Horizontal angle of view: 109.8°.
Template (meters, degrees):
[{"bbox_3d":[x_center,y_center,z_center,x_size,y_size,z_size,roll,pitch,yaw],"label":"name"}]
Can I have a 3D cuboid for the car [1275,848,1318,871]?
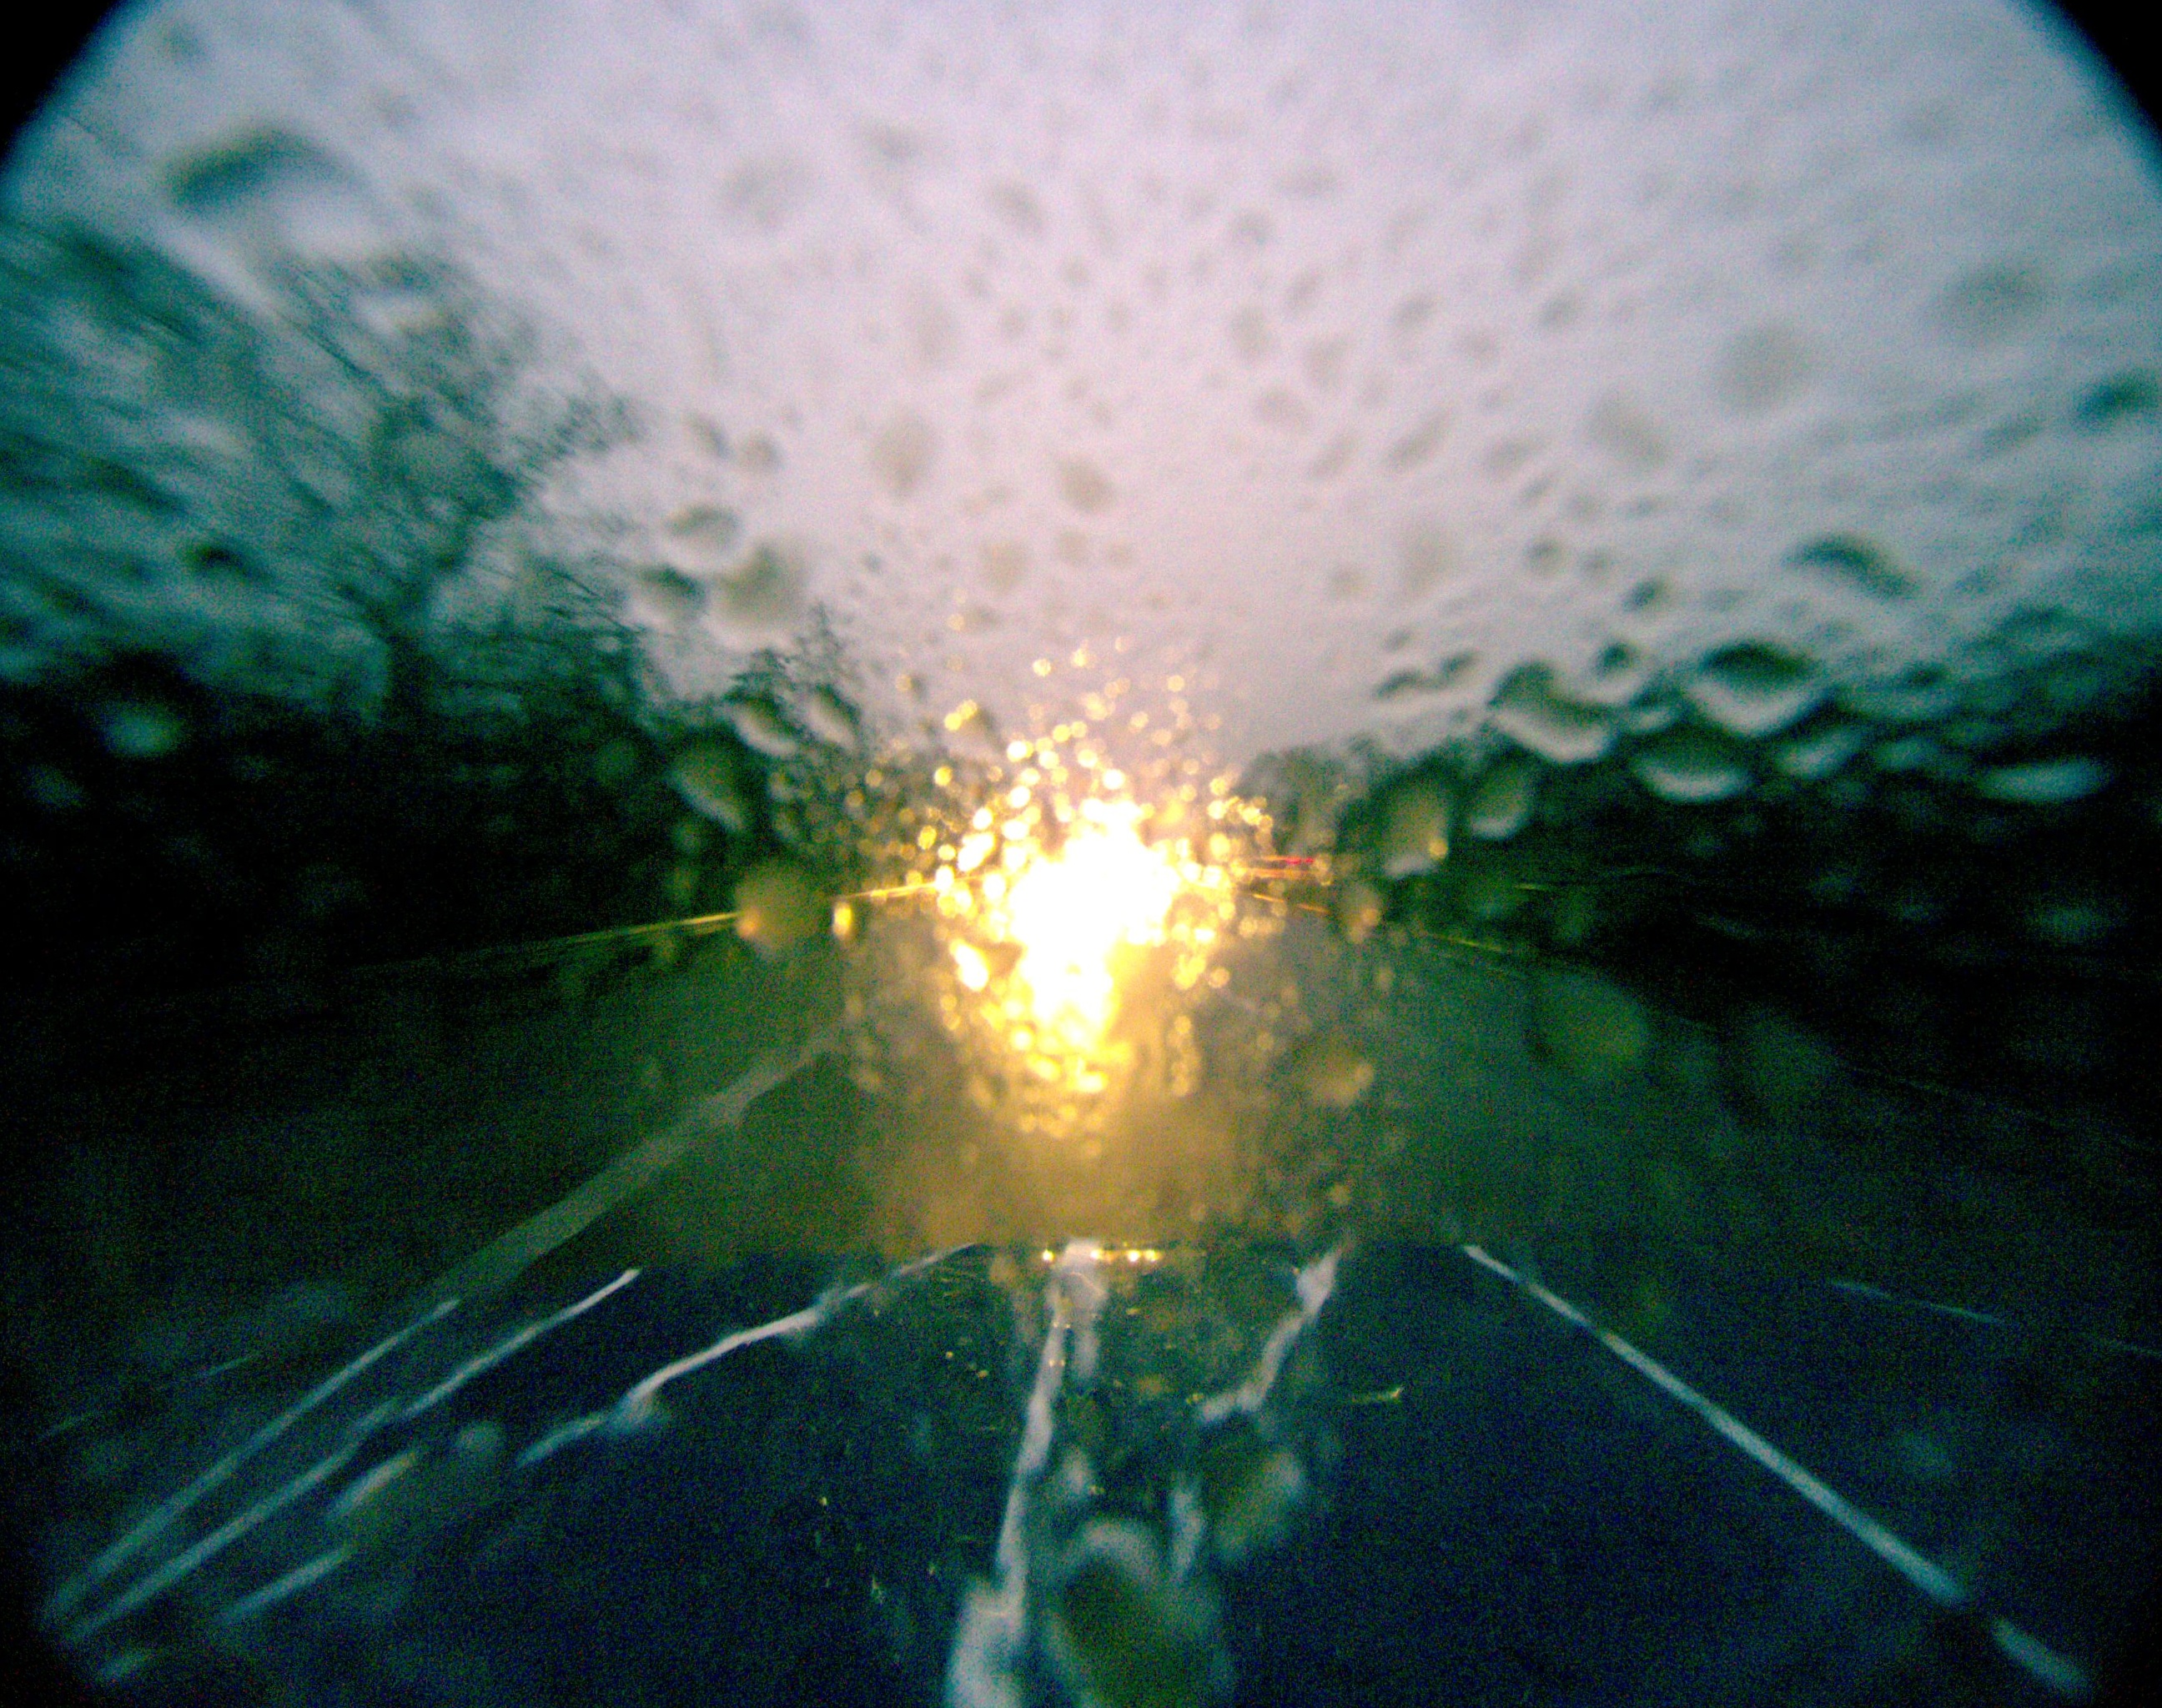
[{"bbox_3d":[16.334,0.429,57.790,1.998,1.580,4.959,-2,0,2],"label":"car"}]

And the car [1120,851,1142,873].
[{"bbox_3d":[4.584,0.705,70.499,1.766,1.922,4.000,-2,0,1],"label":"car"}]

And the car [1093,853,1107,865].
[{"bbox_3d":[2.441,0.566,96.749,1.741,1.441,4.000,-2,0,2],"label":"car"}]

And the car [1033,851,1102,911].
[{"bbox_3d":[-0.370,0.817,25.388,1.928,1.781,3.941,-2,0,4],"label":"car"}]
